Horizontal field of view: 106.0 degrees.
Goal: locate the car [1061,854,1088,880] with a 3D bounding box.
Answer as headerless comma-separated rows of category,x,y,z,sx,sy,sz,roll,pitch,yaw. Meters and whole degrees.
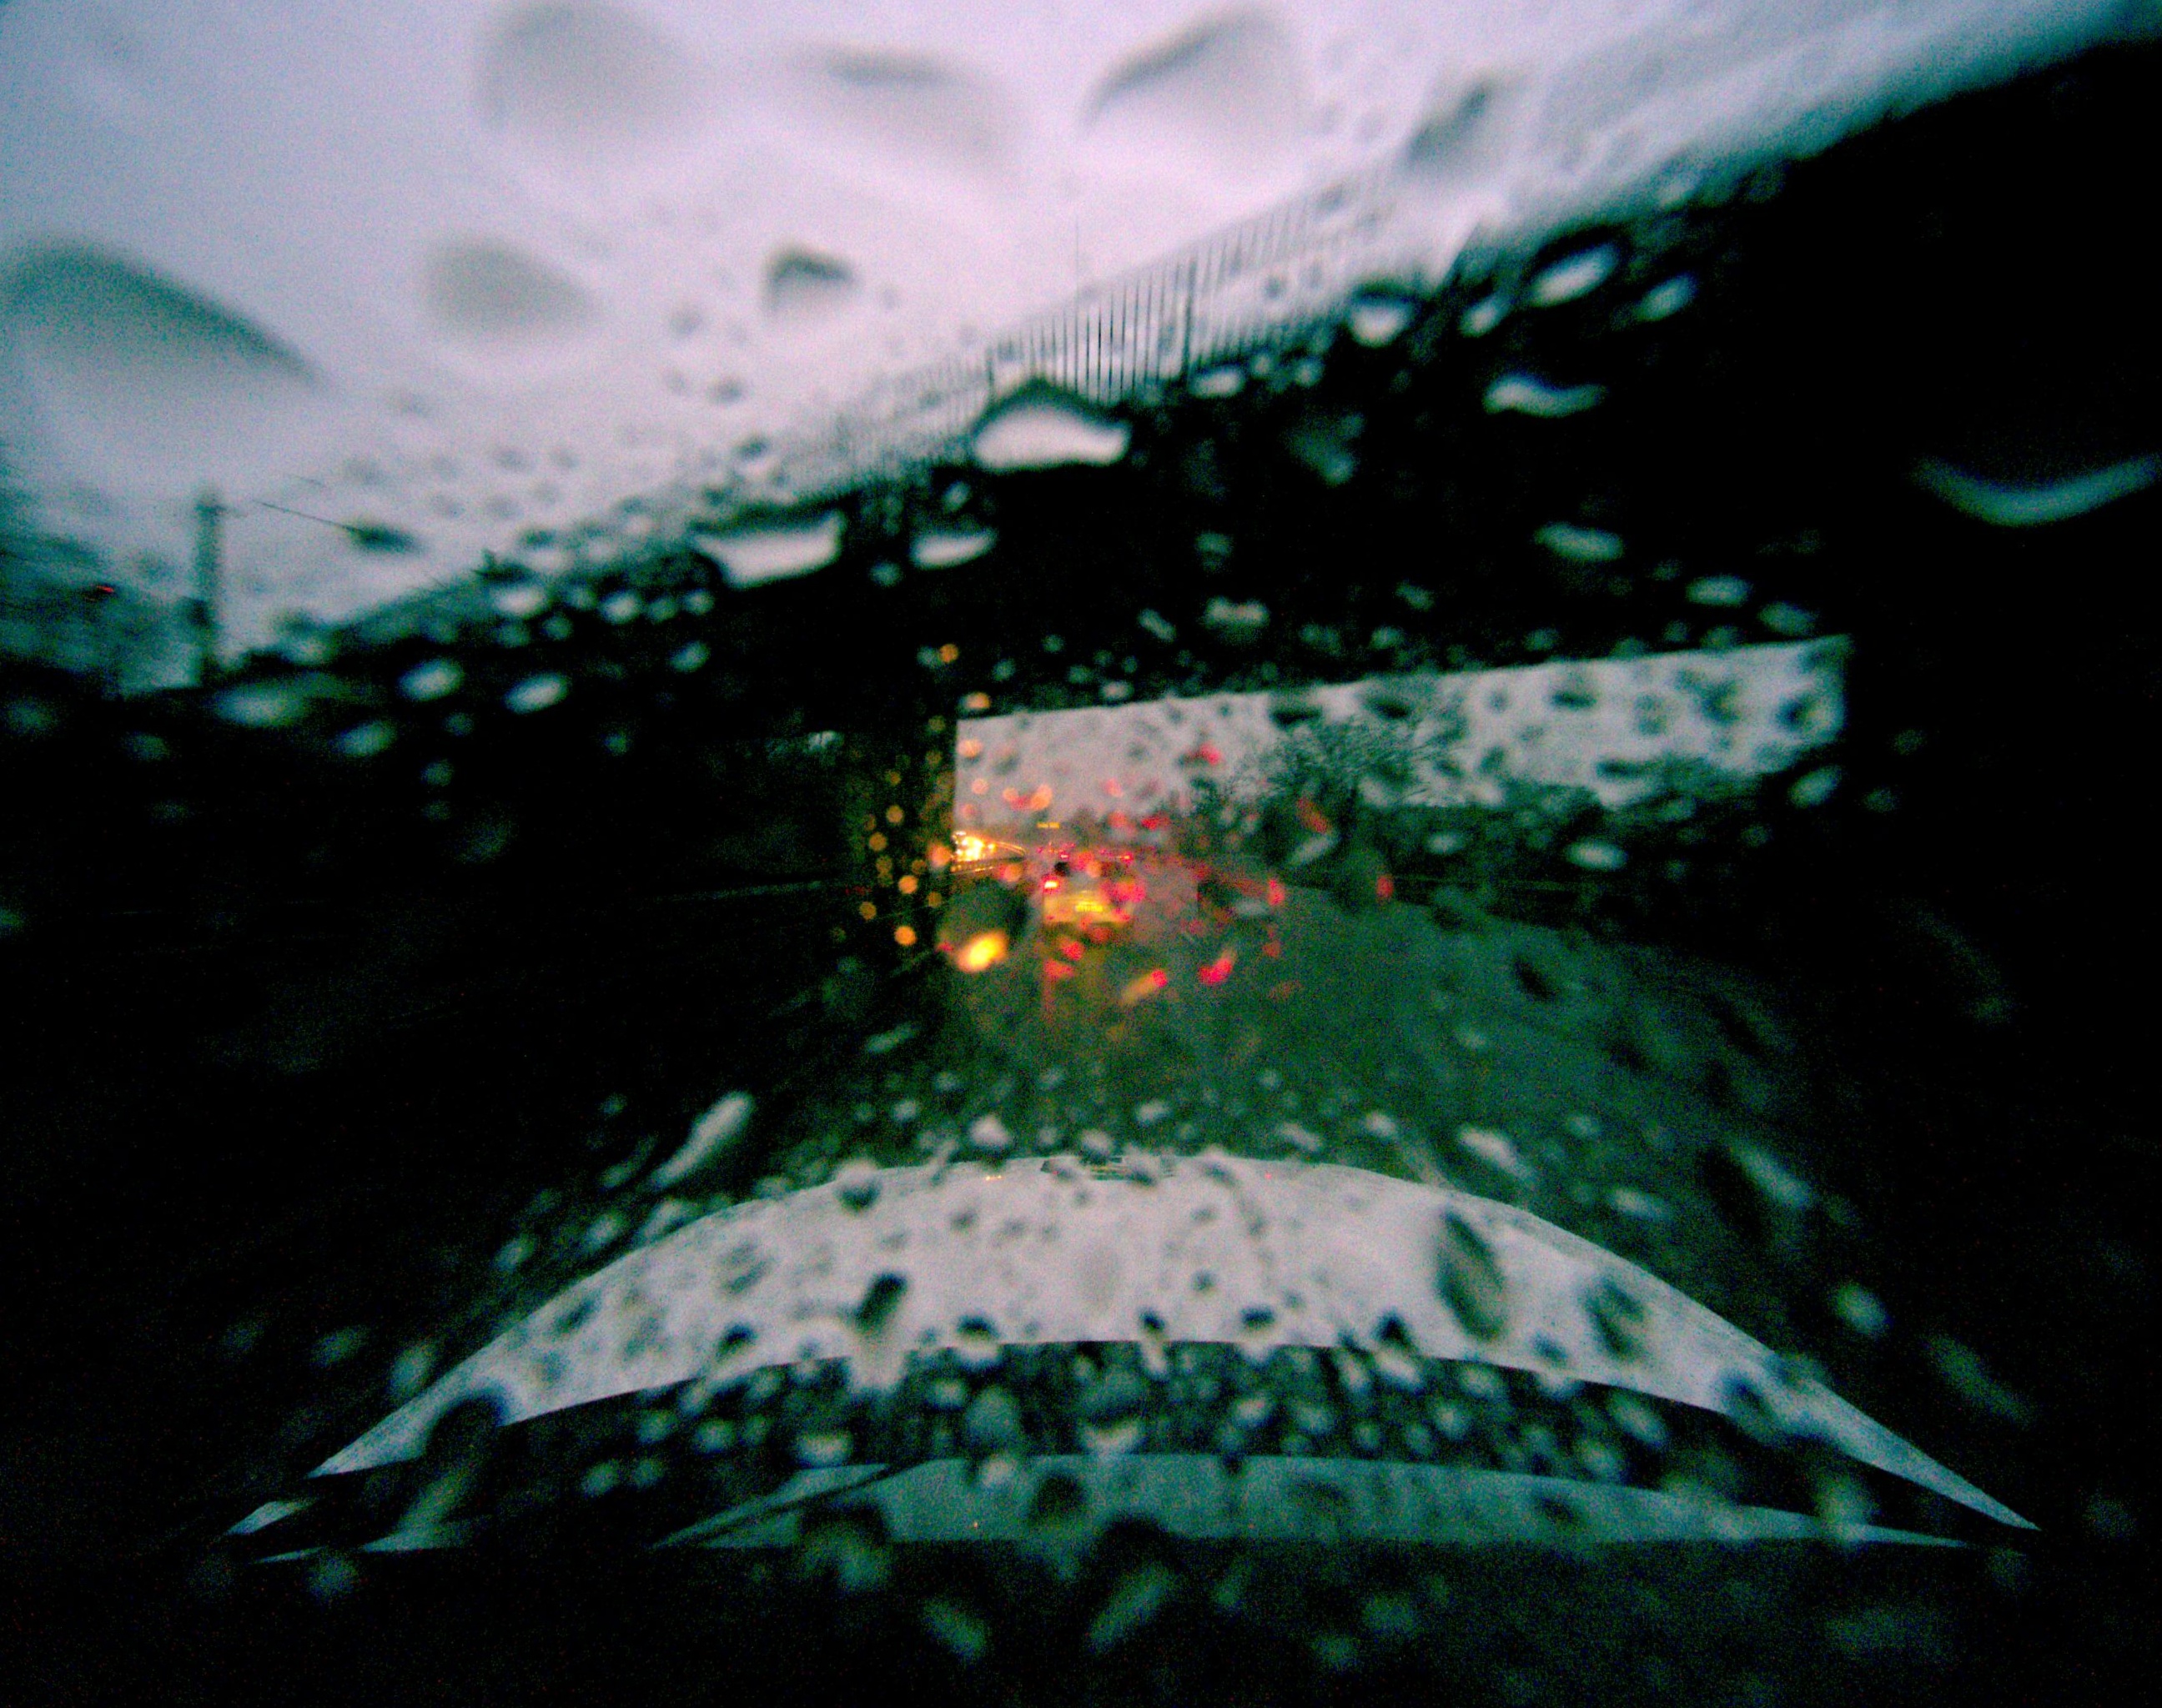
car,-0.561,1.045,65.034,1.989,2.014,3.995,1,-1,-3

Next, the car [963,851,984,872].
car,-13.566,0.981,103.247,2.140,2.468,5.136,1,-1,-2

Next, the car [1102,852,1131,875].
car,2.867,0.819,66.652,1.929,1.546,3.767,-4,-3,-4

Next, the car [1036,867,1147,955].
car,0.280,1.093,16.997,2.017,1.575,4.002,1,-1,2

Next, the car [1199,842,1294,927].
car,4.321,0.779,21.809,1.925,2.019,3.775,1,-1,2
